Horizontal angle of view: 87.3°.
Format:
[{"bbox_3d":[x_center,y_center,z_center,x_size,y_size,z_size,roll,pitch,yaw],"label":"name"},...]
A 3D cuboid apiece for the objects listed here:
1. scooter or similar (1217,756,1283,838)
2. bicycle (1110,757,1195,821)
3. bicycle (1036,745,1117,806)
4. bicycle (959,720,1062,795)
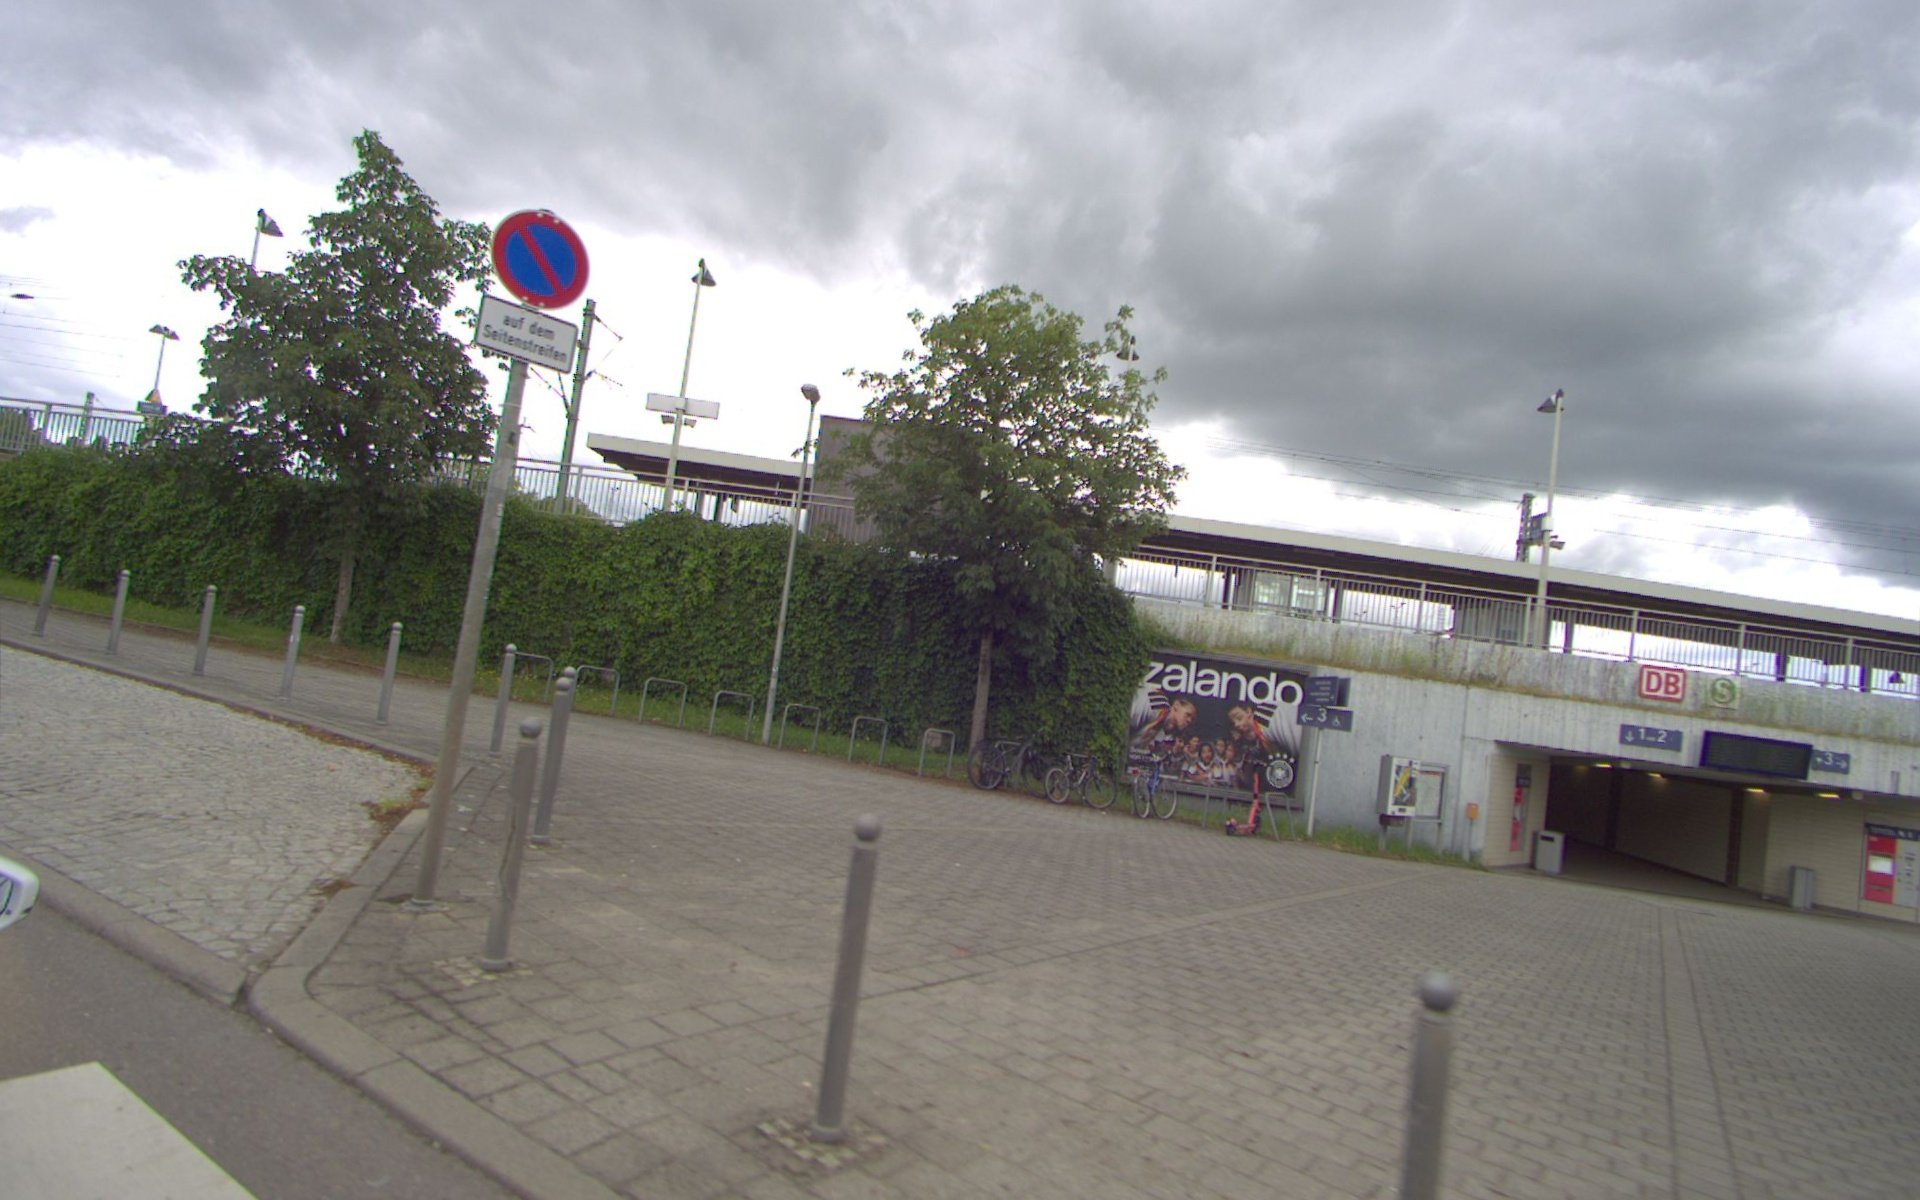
[{"bbox_3d":[4.724,3.213,16.353,0.461,1.218,1.189,5,-6,39],"label":"scooter or similar"},{"bbox_3d":[3.222,3.165,16.718,0.503,0.873,1.972,7,-7,36],"label":"bicycle"},{"bbox_3d":[1.969,2.943,16.809,0.457,0.862,1.578,6,-6,39],"label":"bicycle"},{"bbox_3d":[0.840,2.595,16.546,1.482,0.999,0.688,13,-5,-36],"label":"bicycle"}]
